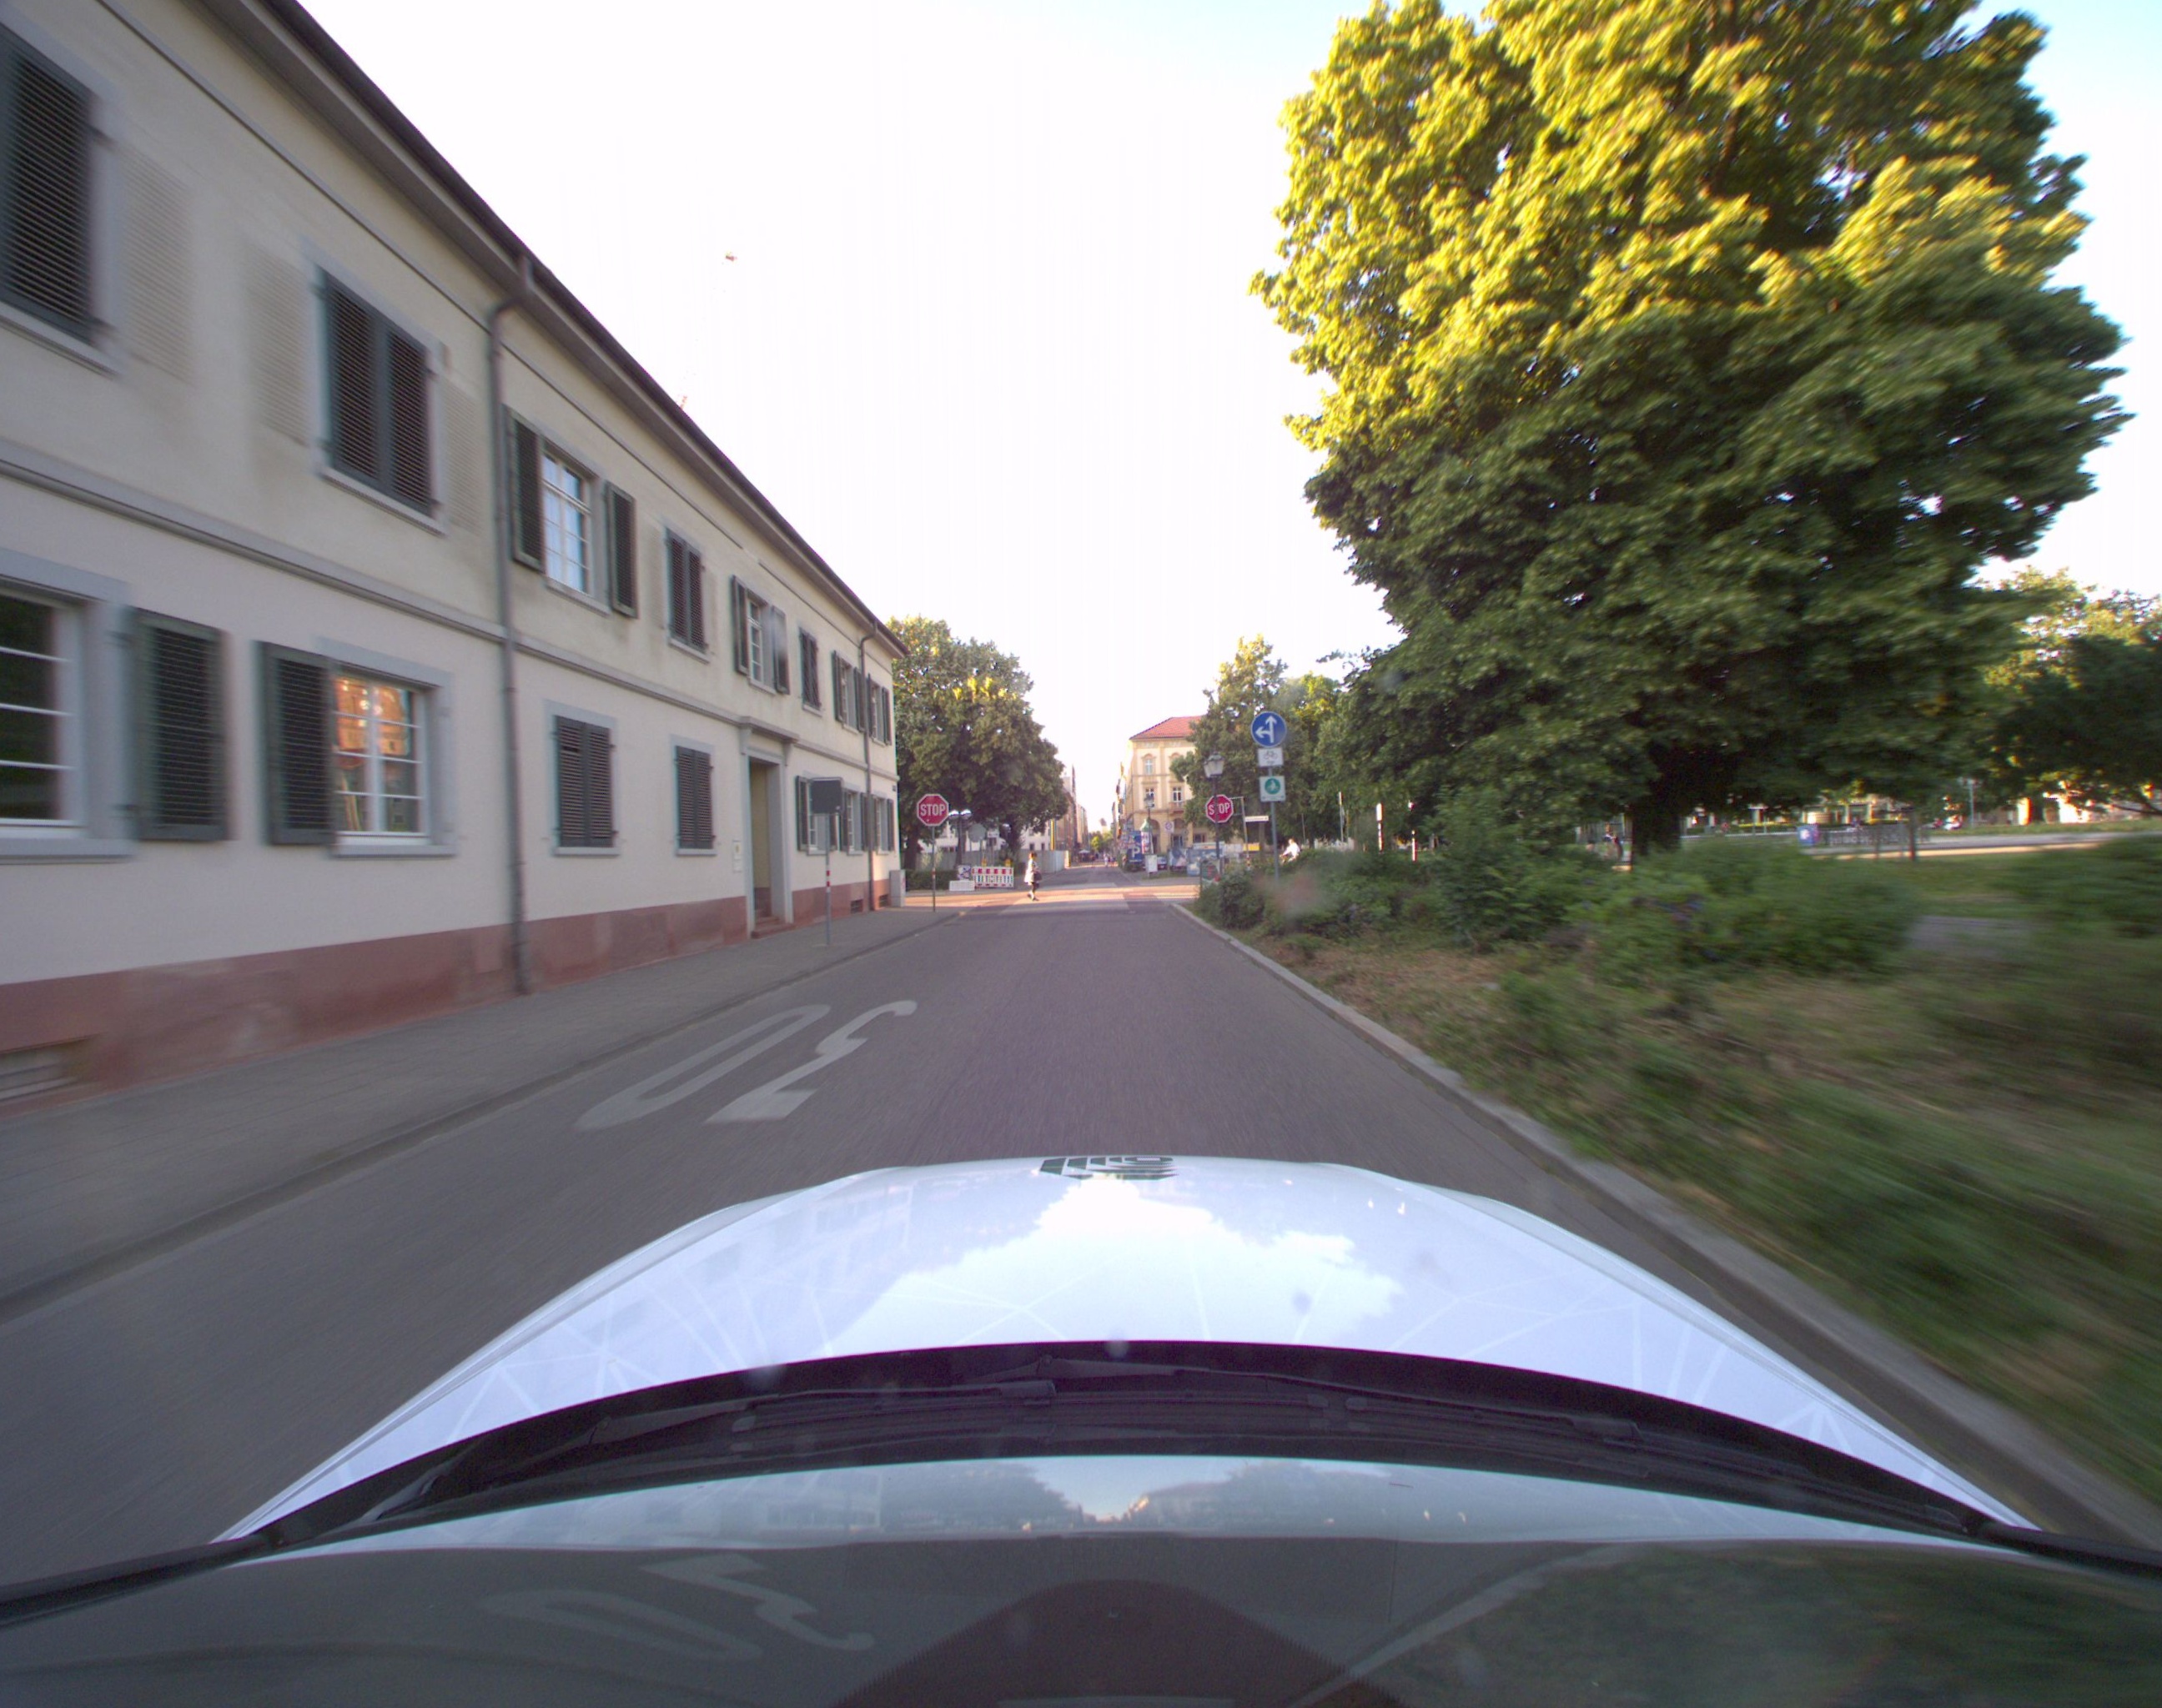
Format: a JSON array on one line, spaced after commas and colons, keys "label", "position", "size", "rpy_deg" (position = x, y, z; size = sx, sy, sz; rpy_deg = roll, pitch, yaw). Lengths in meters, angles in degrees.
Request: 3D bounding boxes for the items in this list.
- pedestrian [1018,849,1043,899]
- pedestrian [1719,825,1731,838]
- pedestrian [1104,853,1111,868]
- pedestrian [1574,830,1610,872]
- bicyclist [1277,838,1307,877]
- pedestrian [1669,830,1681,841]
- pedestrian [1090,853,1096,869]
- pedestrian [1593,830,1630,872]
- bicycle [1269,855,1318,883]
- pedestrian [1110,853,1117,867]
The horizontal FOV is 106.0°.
[{"label": "pedestrian", "position": [-1.734, 0.684, 28.260], "size": [0.731, 1.689, 0.836], "rpy_deg": [-3, 0, 1]}, {"label": "pedestrian", "position": [52.974, -1.846, 67.010], "size": [0.514, 1.077, 0.614], "rpy_deg": [-3, 0, -38]}, {"label": "pedestrian", "position": [2.932, 0.674, 90.770], "size": [0.655, 1.617, 0.745], "rpy_deg": [-3, 0, 2]}, {"label": "pedestrian", "position": [16.781, -0.085, 26.740], "size": [0.595, 1.342, 0.817], "rpy_deg": [-3, 0, -4]}, {"label": "bicyclist", "position": [9.079, 0.151, 35.047], "size": [1.060, 1.633, 0.595], "rpy_deg": [-2, 0, -8]}, {"label": "pedestrian", "position": [51.323, -1.569, 70.376], "size": [0.512, 0.924, 0.616], "rpy_deg": [-3, 0, -24]}, {"label": "pedestrian", "position": [1.350, 0.740, 92.221], "size": [0.655, 1.760, 0.745], "rpy_deg": [-3, 0, 2]}, {"label": "pedestrian", "position": [17.437, -0.096, 26.771], "size": [0.595, 1.342, 0.817], "rpy_deg": [-3, 0, -4]}, {"label": "bicycle", "position": [9.120, 0.633, 35.011], "size": [1.926, 1.121, 0.595], "rpy_deg": [-2, 0, -8]}, {"label": "pedestrian", "position": [3.630, 0.658, 90.741], "size": [0.655, 1.617, 0.745], "rpy_deg": [-3, 0, 2]}]
